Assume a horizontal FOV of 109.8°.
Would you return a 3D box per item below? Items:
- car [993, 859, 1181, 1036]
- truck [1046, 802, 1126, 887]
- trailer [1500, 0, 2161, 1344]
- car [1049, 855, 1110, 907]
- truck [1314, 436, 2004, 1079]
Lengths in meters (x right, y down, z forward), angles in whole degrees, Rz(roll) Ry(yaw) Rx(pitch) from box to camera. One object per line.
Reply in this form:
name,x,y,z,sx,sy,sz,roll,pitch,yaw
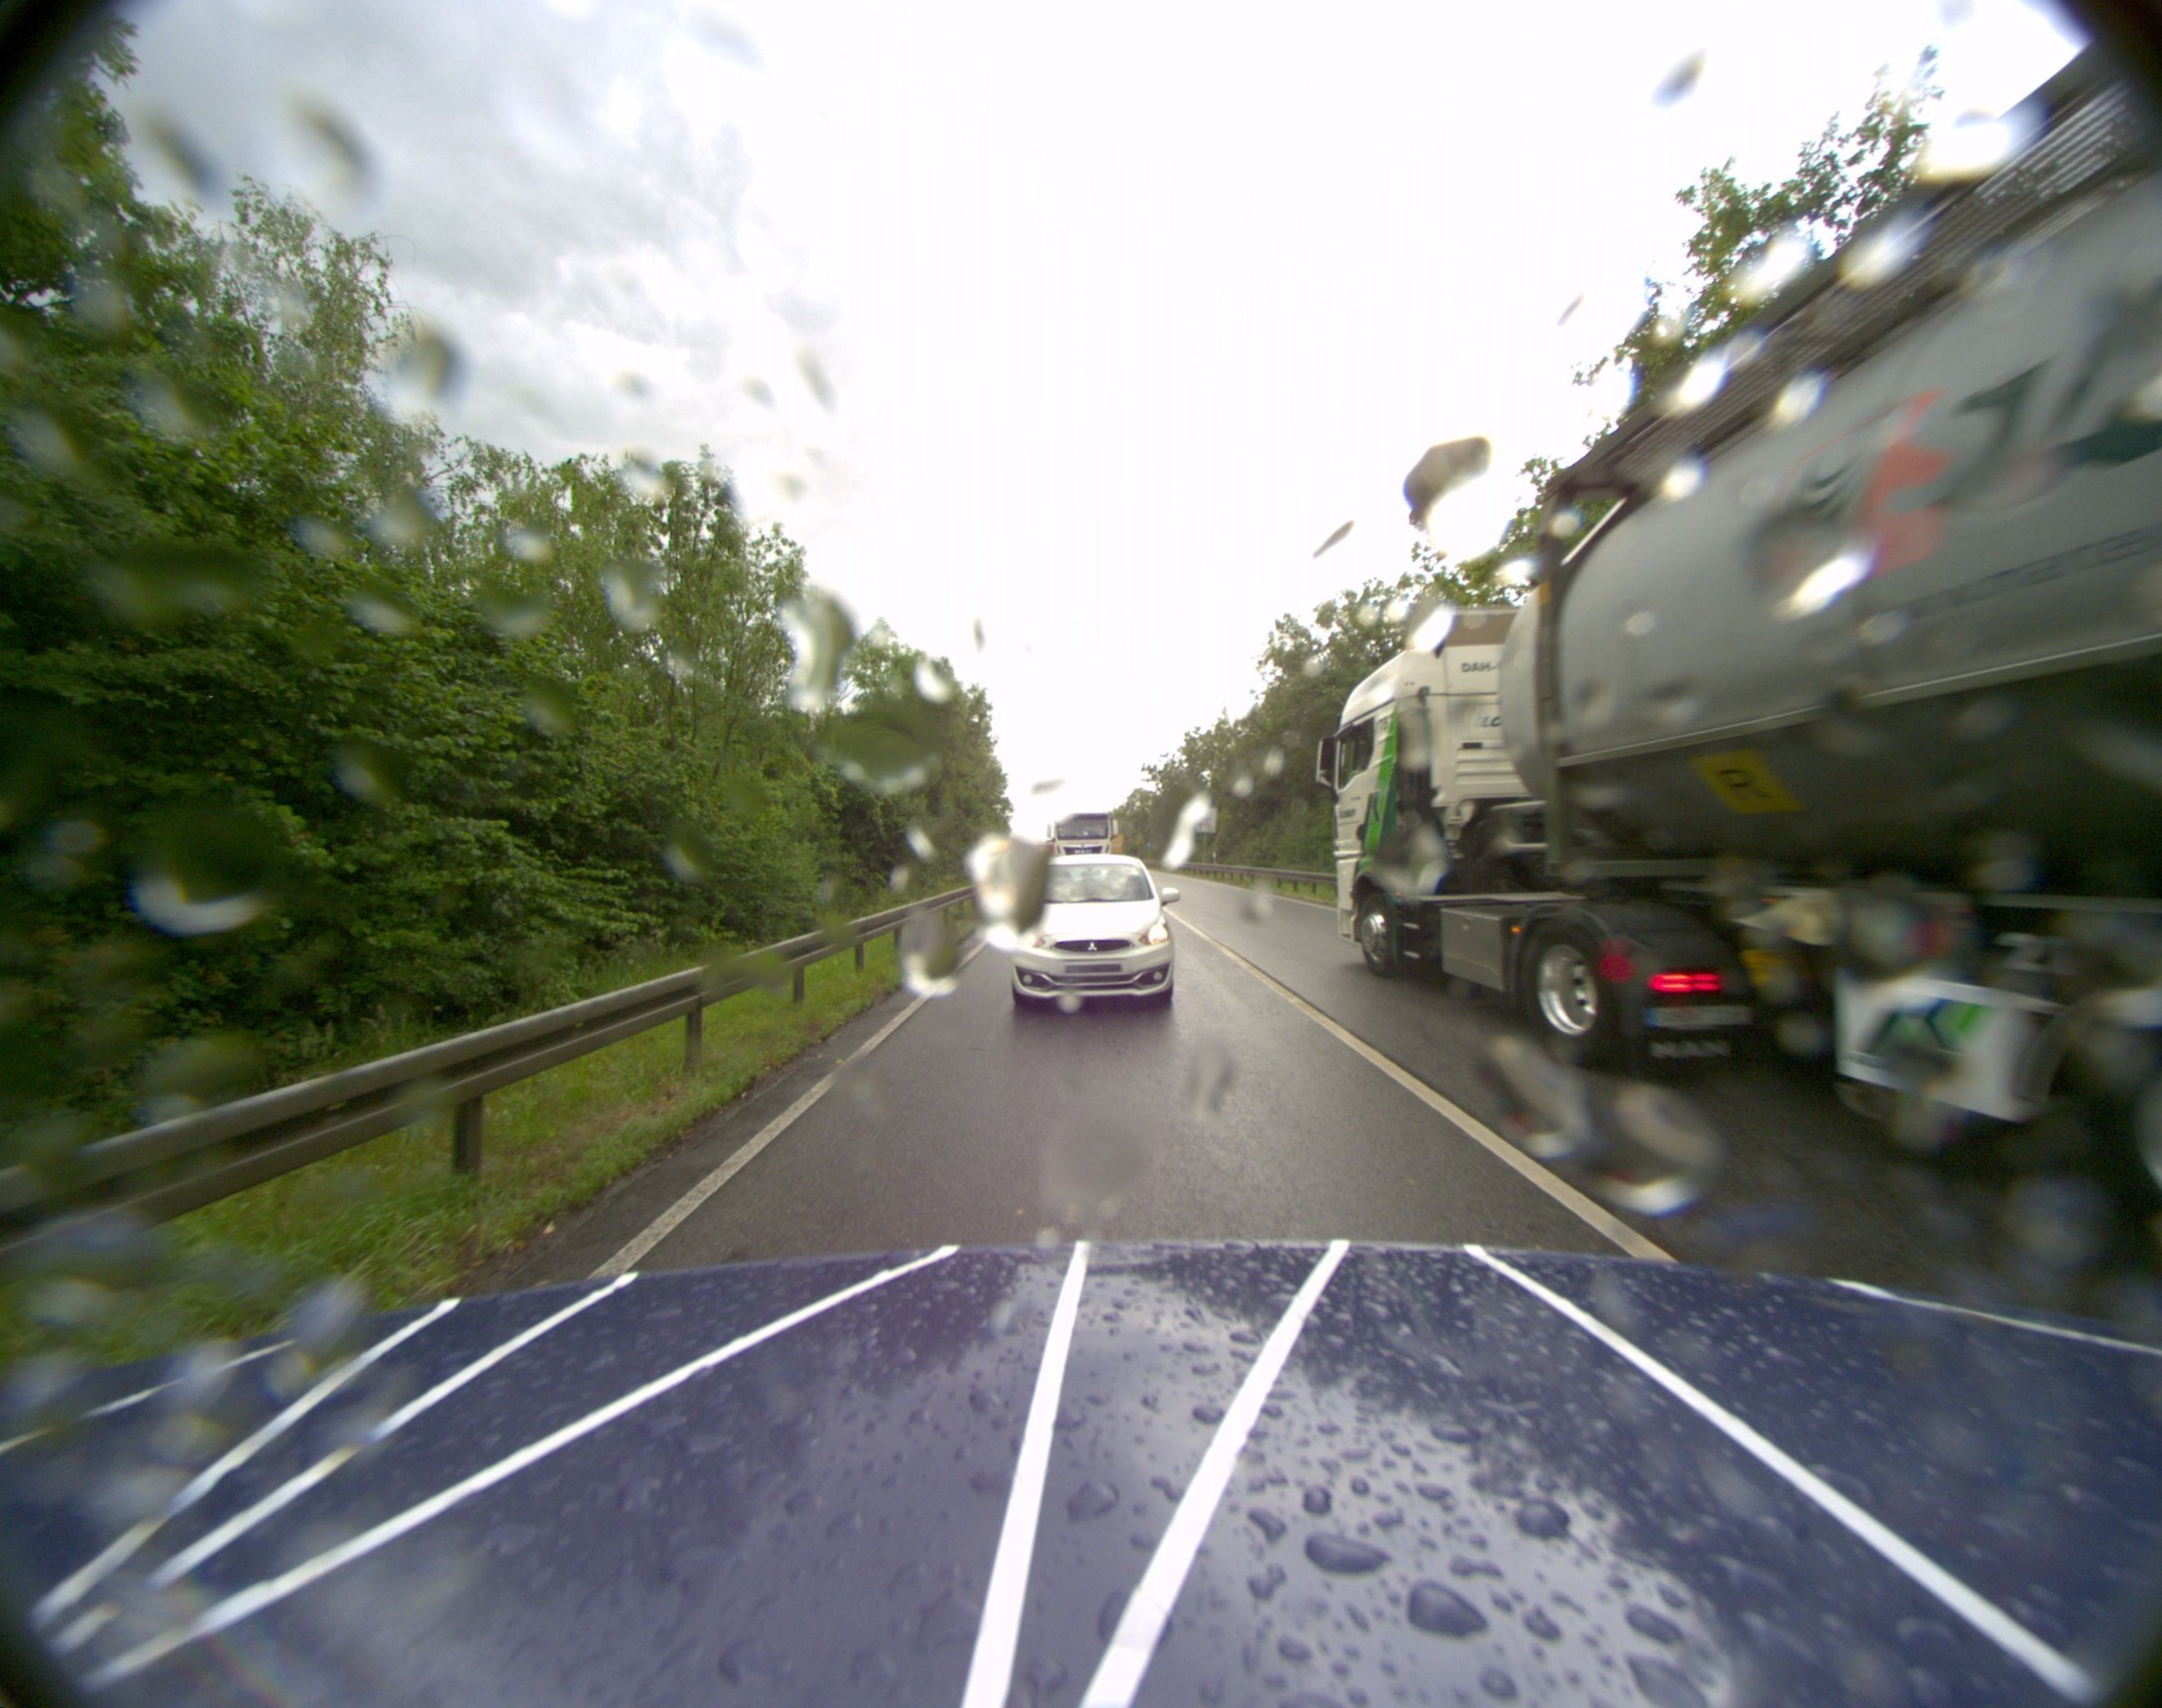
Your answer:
car,0.097,0.847,8.834,1.610,1.435,4.209,-2,1,1
truck,0.090,-0.453,35.799,3.136,3.364,9.280,-2,1,-1
trailer,4.336,-0.514,1.603,2.542,3.803,7.790,-2,1,0
car,0.048,0.789,24.347,1.640,1.413,4.492,-2,0,3
truck,4.341,-0.610,7.243,2.542,3.803,5.244,-2,1,0
